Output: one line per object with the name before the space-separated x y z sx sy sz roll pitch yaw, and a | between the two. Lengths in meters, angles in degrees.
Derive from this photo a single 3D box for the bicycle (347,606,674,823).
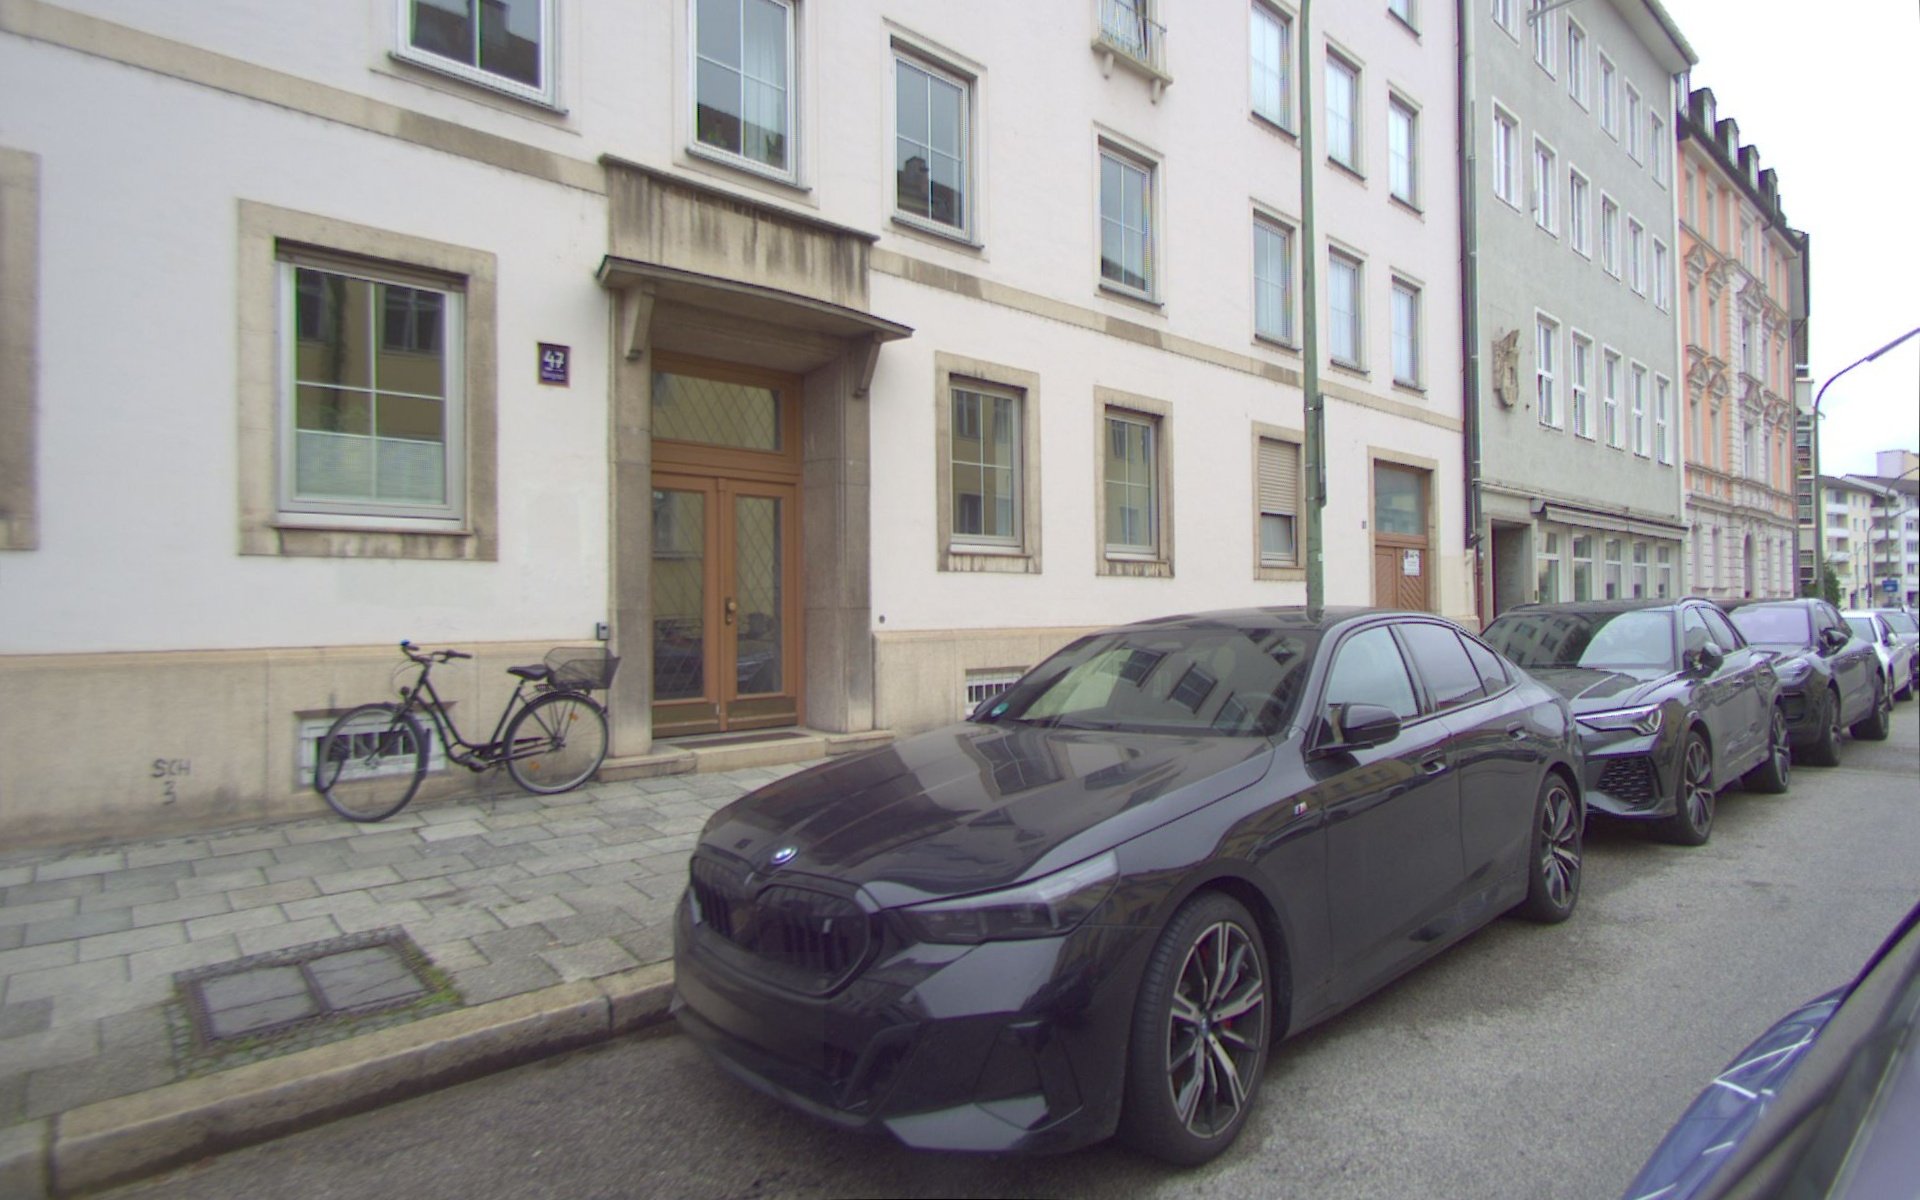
bicycle | -2.894 0.663 6.728 0.512 1.238 1.959 -1 -1 41

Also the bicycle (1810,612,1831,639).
bicycle | 34.753 1.016 40.877 0.528 1.085 1.973 -1 -1 38

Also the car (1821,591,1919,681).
car | 18.402 0.681 20.011 4.290 1.613 1.706 1 -2 -45

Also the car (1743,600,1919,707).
car | 13.896 0.756 15.913 4.452 1.447 1.674 0 -2 -42

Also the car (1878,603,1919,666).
car | 23.451 0.775 24.184 4.287 1.420 1.690 0 -1 -41

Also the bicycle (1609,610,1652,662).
bicycle | 15.601 0.816 23.541 1.916 1.172 0.384 0 -1 -43

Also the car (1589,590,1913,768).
car | 8.682 0.697 10.954 4.626 1.542 1.842 0 -2 -41

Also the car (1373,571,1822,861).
car | 5.096 0.676 7.789 4.554 1.610 1.647 0 -3 -42

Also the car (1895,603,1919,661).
car | 26.923 0.846 27.739 4.079 1.520 1.687 0 -3 -45

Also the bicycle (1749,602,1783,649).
bicycle | 24.648 0.760 30.935 0.596 1.402 2.058 0 -1 45

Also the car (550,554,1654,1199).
car | 1.198 0.701 4.402 5.229 1.504 1.804 0 -3 -43
